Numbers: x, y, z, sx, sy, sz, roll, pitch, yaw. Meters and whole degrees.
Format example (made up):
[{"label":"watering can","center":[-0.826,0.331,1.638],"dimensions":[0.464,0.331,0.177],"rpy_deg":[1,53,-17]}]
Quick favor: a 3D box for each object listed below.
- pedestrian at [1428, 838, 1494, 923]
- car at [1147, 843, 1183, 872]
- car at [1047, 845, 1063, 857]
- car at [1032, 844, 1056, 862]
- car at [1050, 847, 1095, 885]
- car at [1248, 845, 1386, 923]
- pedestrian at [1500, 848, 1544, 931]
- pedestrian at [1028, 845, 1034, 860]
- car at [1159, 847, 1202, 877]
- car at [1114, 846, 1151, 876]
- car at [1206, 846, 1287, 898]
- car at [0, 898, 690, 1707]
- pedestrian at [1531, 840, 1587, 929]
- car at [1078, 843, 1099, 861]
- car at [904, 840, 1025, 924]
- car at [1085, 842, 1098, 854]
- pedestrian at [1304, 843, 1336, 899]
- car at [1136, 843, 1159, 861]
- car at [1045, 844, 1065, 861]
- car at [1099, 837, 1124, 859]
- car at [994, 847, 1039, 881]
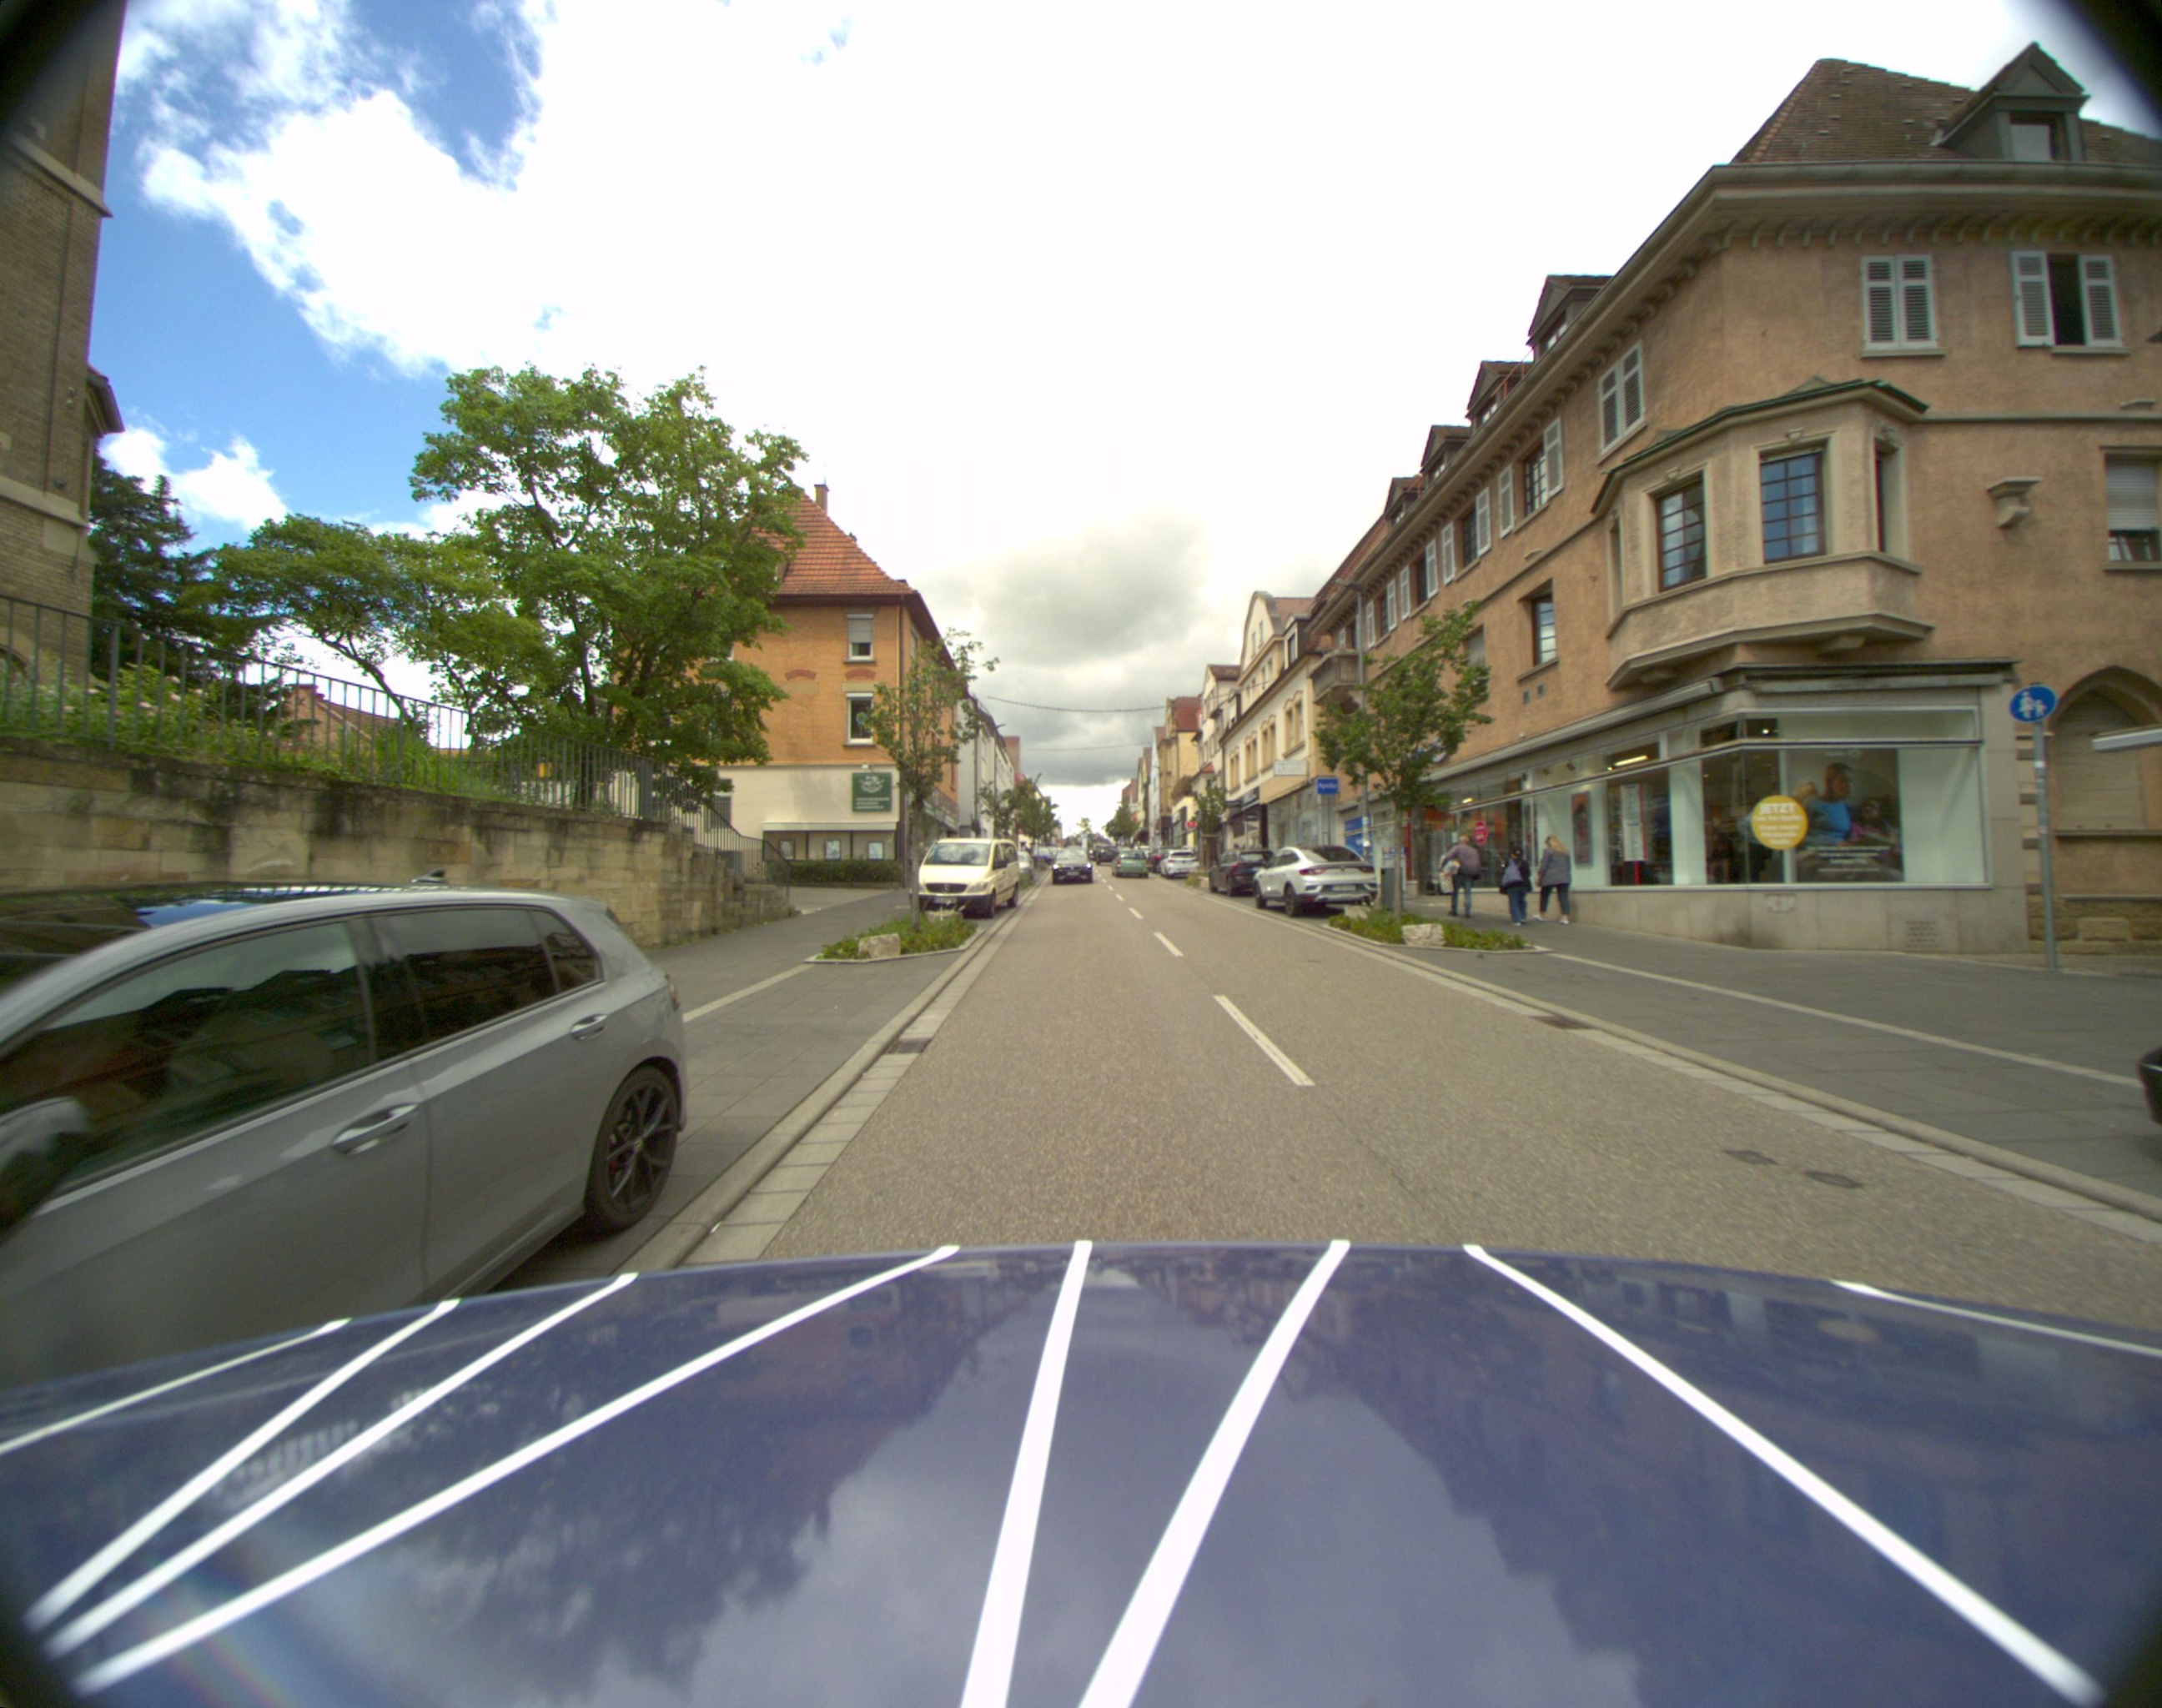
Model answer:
[{"label":"pedestrian","center":[7.740,0.516,15.509],"dimensions":[0.872,1.657,0.906],"rpy_deg":[-1,1,-2]},{"label":"car","center":[5.059,0.178,46.161],"dimensions":[1.732,1.670,3.991],"rpy_deg":[-1,1,0]},{"label":"car","center":[-2.926,-0.350,87.052],"dimensions":[1.690,1.365,3.528],"rpy_deg":[0,1,0]},{"label":"car","center":[-3.055,-0.108,63.417],"dimensions":[1.774,1.515,3.528],"rpy_deg":[0,1,0]},{"label":"car","center":[-0.379,0.506,34.956],"dimensions":[1.894,1.515,3.735],"rpy_deg":[-2,1,0]},{"label":"car","center":[5.372,0.596,17.928],"dimensions":[1.730,1.564,4.453],"rpy_deg":[-1,1,-2]},{"label":"pedestrian","center":[8.025,0.630,13.841],"dimensions":[0.497,1.469,0.528],"rpy_deg":[-1,1,-2]},{"label":"pedestrian","center":[-5.012,-0.170,75.683],"dimensions":[0.549,1.515,0.412],"rpy_deg":[0,2,0]},{"label":"car","center":[5.067,0.374,38.994],"dimensions":[1.732,1.423,3.502],"rpy_deg":[-1,1,0]},{"label":"car","center":[2.696,0.334,40.848],"dimensions":[1.686,1.492,4.153],"rpy_deg":[0,1,0]},{"label":"car","center":[5.421,0.526,25.380],"dimensions":[1.668,1.517,3.962],"rpy_deg":[-2,1,-2]},{"label":"car","center":[-2.656,0.949,1.473],"dimensions":[1.759,1.433,4.088],"rpy_deg":[0,1,-2]},{"label":"pedestrian","center":[8.701,0.541,13.852],"dimensions":[0.615,1.573,0.642],"rpy_deg":[-1,1,-2]},{"label":"car","center":[0.701,-0.227,73.597],"dimensions":[1.894,1.670,3.735],"rpy_deg":[1,1,0]},{"label":"car","center":[-2.754,0.575,19.180],"dimensions":[1.889,1.837,5.031],"rpy_deg":[0,1,5]},{"label":"car","center":[1.322,-0.760,96.805],"dimensions":[1.690,1.403,3.528],"rpy_deg":[0,1,0]},{"label":"pedestrian","center":[6.982,0.488,22.217],"dimensions":[0.629,1.564,0.650],"rpy_deg":[-4,1,0]},{"label":"car","center":[5.580,-0.188,64.038],"dimensions":[1.690,1.515,3.528],"rpy_deg":[0,1,0]},{"label":"car","center":[-2.507,-0.163,73.770],"dimensions":[1.774,1.515,3.528],"rpy_deg":[0,1,0]},{"label":"car","center":[2.403,-0.475,60.386],"dimensions":[1.830,1.680,3.858],"rpy_deg":[0,1,-1]},{"label":"car","center":[-3.026,0.436,36.402],"dimensions":[1.816,1.439,3.944],"rpy_deg":[2,1,-1]}]
